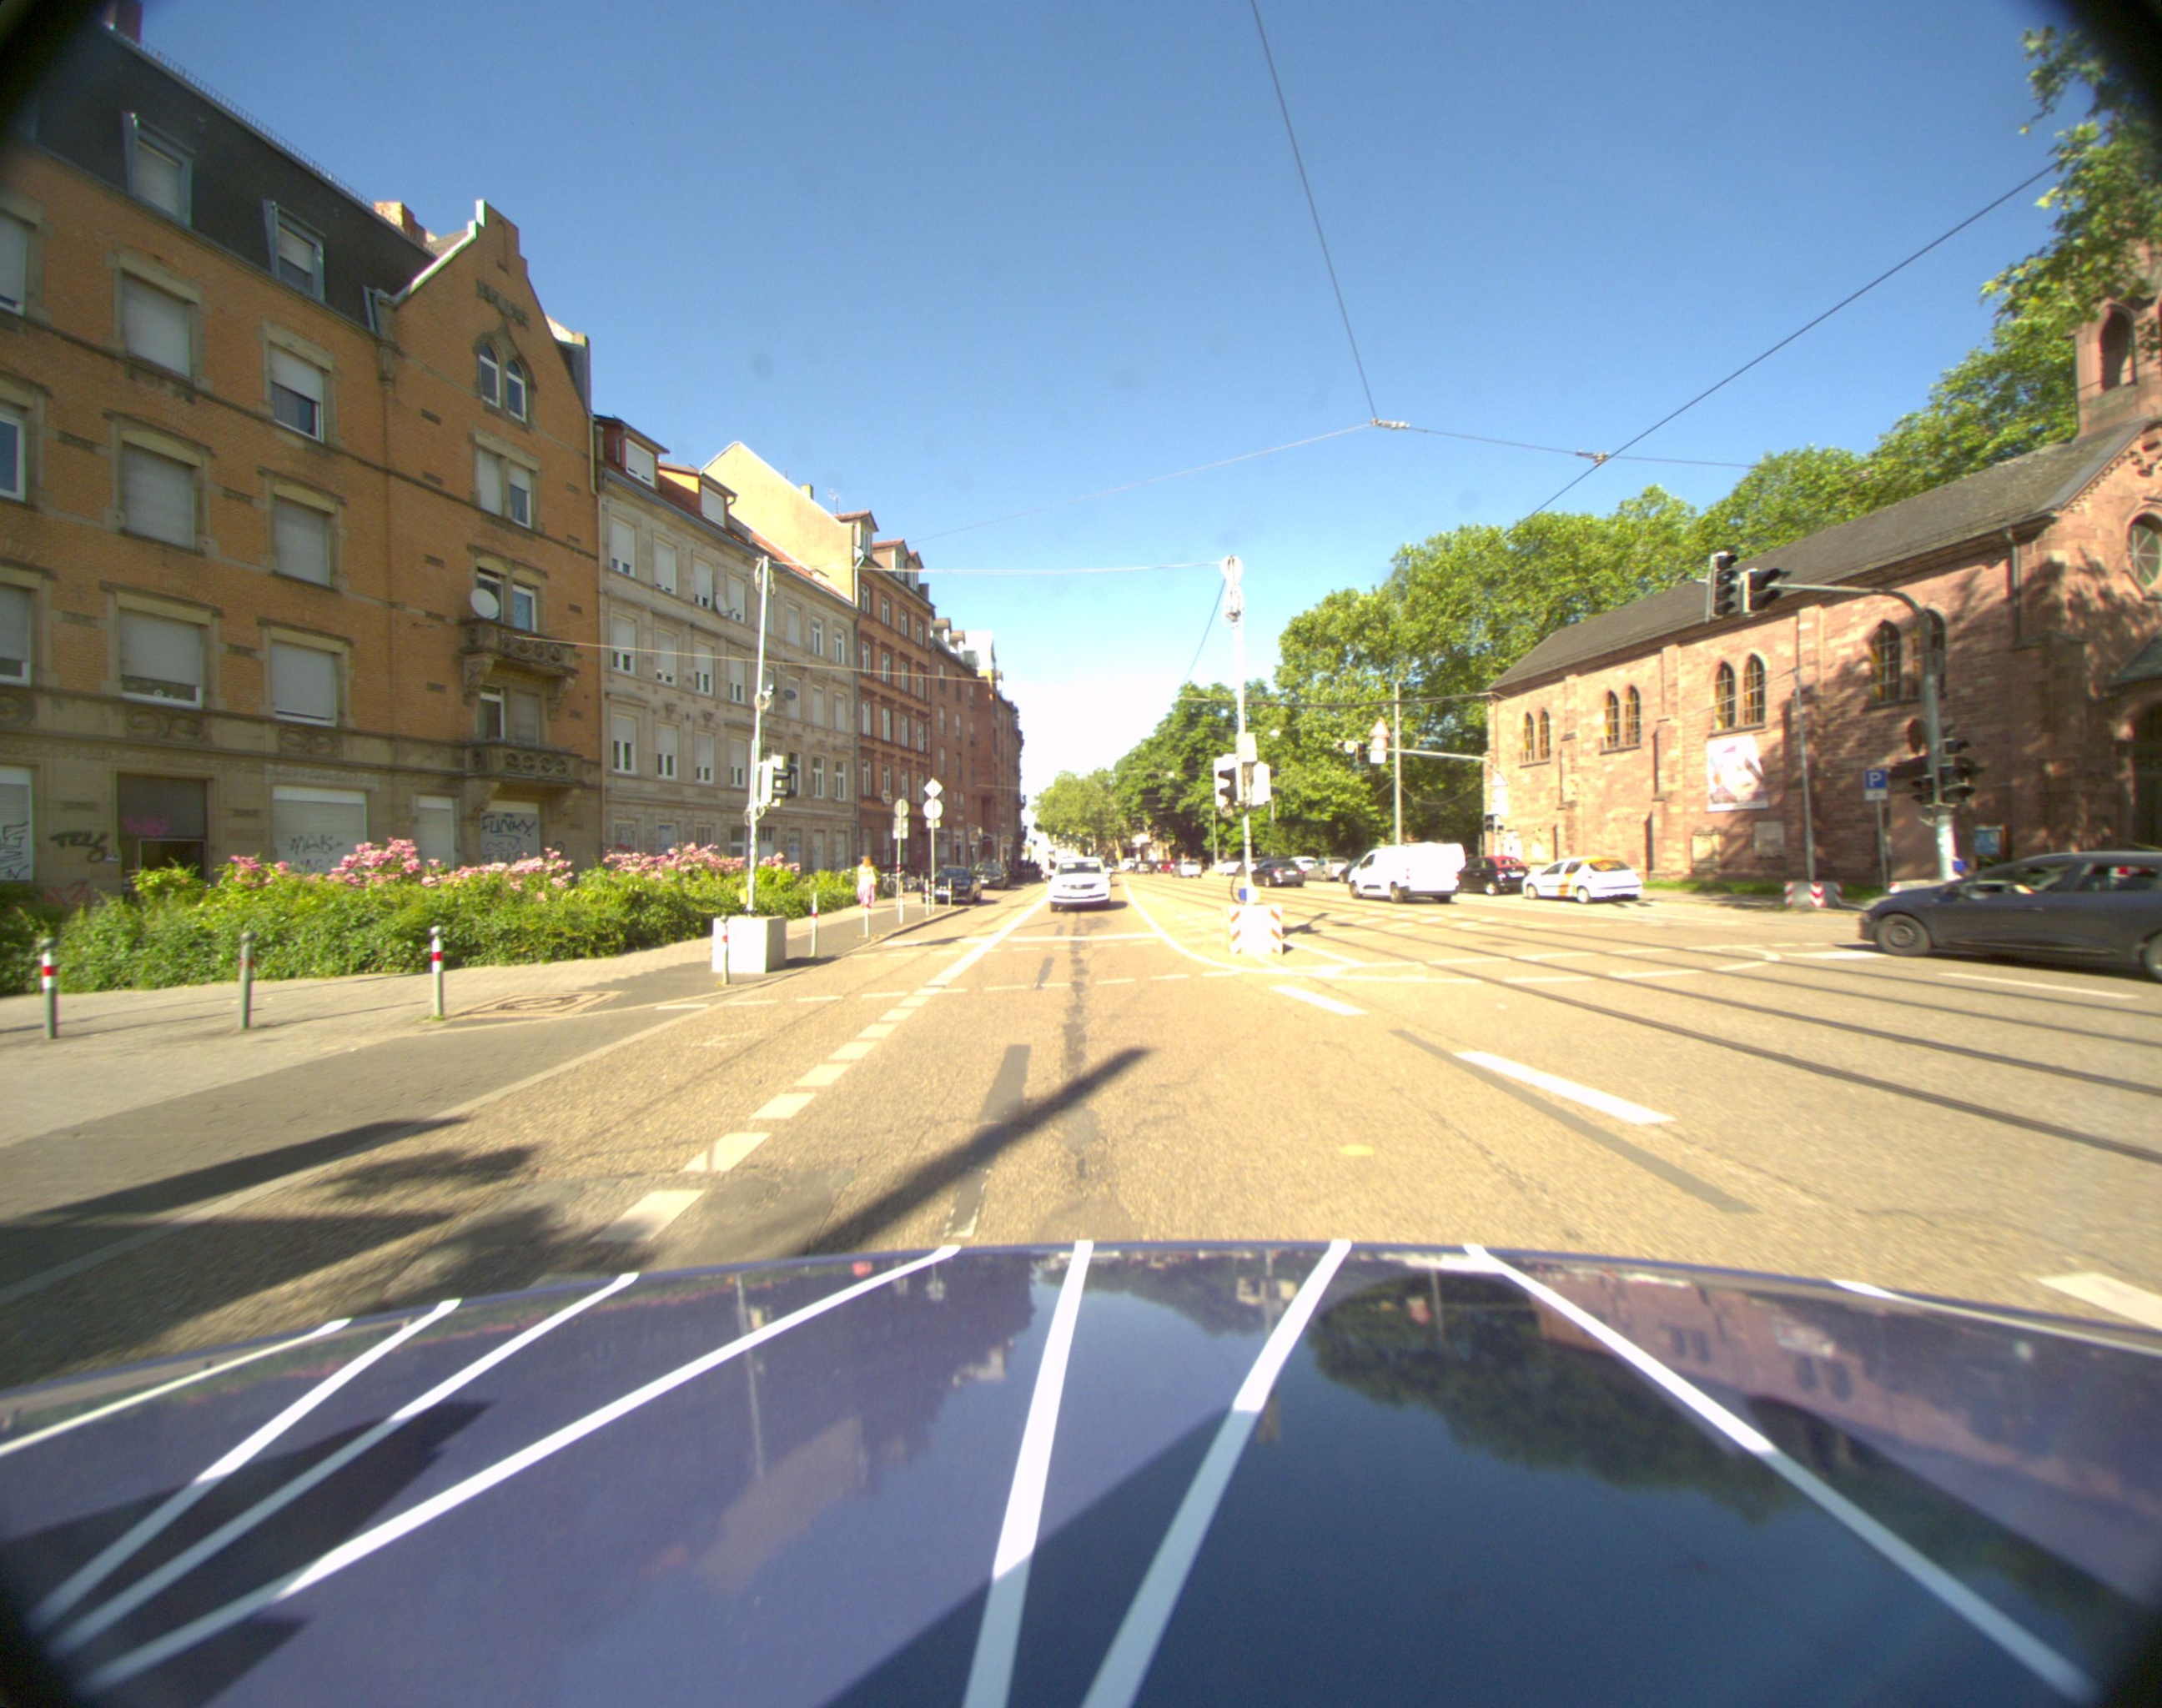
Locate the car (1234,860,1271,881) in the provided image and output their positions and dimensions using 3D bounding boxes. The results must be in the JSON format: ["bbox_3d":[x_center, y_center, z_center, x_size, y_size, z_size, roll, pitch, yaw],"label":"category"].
[{"bbox_3d":[13.765,1.305,61.209,1.795,1.542,4.306,-1,0,-3],"label":"car"}]

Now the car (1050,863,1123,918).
[{"bbox_3d":[0.287,1.150,25.535,1.800,1.626,4.397,-1,0,9],"label":"car"}]

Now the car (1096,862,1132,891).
[{"bbox_3d":[1.910,1.295,44.309,1.998,1.607,4.265,-1,-1,2],"label":"car"}]

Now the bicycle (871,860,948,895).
[{"bbox_3d":[-7.961,1.045,36.057,1.969,1.407,6.828,2,0,1],"label":"bicycle"}]

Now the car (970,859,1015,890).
[{"bbox_3d":[-4.866,1.108,42.246,1.764,1.516,4.474,4,0,2],"label":"car"}]

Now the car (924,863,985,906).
[{"bbox_3d":[-4.752,1.113,28.942,1.683,1.475,4.000,-1,0,-1],"label":"car"}]

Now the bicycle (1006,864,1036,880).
[{"bbox_3d":[-4.251,1.267,54.022,1.917,1.130,0.846,0,0,12],"label":"bicycle"}]

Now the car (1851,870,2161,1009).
[{"bbox_3d":[12.274,0.948,9.181,1.620,1.404,4.086,0,0,-5],"label":"car"}]

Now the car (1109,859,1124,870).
[{"bbox_3d":[5.334,1.539,114.654,1.795,1.542,4.306,-1,0,-3],"label":"car"}]

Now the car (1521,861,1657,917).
[{"bbox_3d":[16.420,1.068,24.799,1.780,1.564,3.676,-4,0,-3],"label":"car"}]

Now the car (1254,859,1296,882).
[{"bbox_3d":[14.131,1.173,55.559,1.795,1.542,4.306,-1,0,-3],"label":"car"}]

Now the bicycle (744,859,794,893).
[{"bbox_3d":[-12.000,0.827,29.285,0.956,1.278,2.237,-1,0,0],"label":"bicycle"}]

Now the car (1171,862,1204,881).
[{"bbox_3d":[8.440,1.359,60.487,1.798,1.420,4.375,-1,0,-3],"label":"car"}]

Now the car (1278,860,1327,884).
[{"bbox_3d":[14.682,1.182,50.648,1.795,1.542,4.306,-1,0,-3],"label":"car"}]

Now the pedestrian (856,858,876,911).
[{"bbox_3d":[-6.833,0.956,24.181,0.551,1.666,0.687,-1,0,-13],"label":"pedestrian"}]

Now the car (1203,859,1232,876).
[{"bbox_3d":[12.955,1.303,72.392,1.795,1.542,4.306,-1,0,-3],"label":"car"}]

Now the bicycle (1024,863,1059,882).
[{"bbox_3d":[-3.208,1.511,63.440,1.805,1.429,8.782,-1,0,4],"label":"bicycle"}]

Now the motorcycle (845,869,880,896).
[{"bbox_3d":[-10.971,1.414,38.247,1.632,1.308,0.716,-1,0,-13],"label":"motorcycle"}]

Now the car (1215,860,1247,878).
[{"bbox_3d":[13.230,1.287,67.221,1.795,1.542,4.306,-1,0,-3],"label":"car"}]

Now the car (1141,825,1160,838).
[{"bbox_3d":[8.656,-2.756,94.884,1.795,1.543,4.305,-1,1,-3],"label":"car"}]

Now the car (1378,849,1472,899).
[{"bbox_3d":[15.598,0.878,34.759,1.921,2.084,4.591,-1,0,-5],"label":"car"}]

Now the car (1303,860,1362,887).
[{"bbox_3d":[14.919,1.119,45.353,1.796,1.542,4.305,-1,0,-5],"label":"car"}]

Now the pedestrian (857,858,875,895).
[{"bbox_3d":[-10.844,1.138,38.278,0.822,1.851,0.703,-1,0,-13],"label":"pedestrian"}]

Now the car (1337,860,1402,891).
[{"bbox_3d":[15.287,1.097,40.420,1.796,1.542,3.859,-1,0,-4],"label":"car"}]

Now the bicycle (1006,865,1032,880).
[{"bbox_3d":[-4.509,1.343,55.464,1.801,1.053,0.656,0,0,9],"label":"bicycle"}]

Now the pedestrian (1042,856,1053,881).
[{"bbox_3d":[-2.391,1.036,54.571,0.735,1.783,0.884,-1,0,0],"label":"pedestrian"}]

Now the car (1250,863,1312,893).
[{"bbox_3d":[10.251,1.202,39.281,1.798,1.420,4.375,-1,0,-3],"label":"car"}]

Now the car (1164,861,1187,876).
[{"bbox_3d":[10.358,1.596,83.735,1.795,1.542,4.306,-1,0,-3],"label":"car"}]

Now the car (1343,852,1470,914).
[{"bbox_3d":[10.722,0.906,25.447,2.067,1.880,4.516,1,0,-3],"label":"car"}]

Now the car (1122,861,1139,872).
[{"bbox_3d":[6.718,1.694,103.794,1.795,1.542,4.306,-1,0,-3],"label":"car"}]

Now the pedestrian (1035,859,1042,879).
[{"bbox_3d":[-3.848,1.383,69.421,0.613,1.763,0.722,-1,0,-1],"label":"pedestrian"}]

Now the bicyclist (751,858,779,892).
[{"bbox_3d":[-12.057,0.796,29.017,0.693,1.278,0.862,-1,0,0],"label":"bicyclist"}]

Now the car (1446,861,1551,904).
[{"bbox_3d":[16.224,1.069,29.771,1.796,1.542,3.859,-1,0,-4],"label":"car"}]

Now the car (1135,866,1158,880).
[{"bbox_3d":[6.763,1.945,79.210,1.798,1.420,4.375,-1,0,-3],"label":"car"}]

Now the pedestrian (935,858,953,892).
[{"bbox_3d":[-8.196,1.252,45.486,0.844,2.002,1.369,-1,0,0],"label":"pedestrian"}]

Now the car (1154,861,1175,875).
[{"bbox_3d":[9.698,1.574,88.377,1.795,1.542,4.306,-1,0,-3],"label":"car"}]
